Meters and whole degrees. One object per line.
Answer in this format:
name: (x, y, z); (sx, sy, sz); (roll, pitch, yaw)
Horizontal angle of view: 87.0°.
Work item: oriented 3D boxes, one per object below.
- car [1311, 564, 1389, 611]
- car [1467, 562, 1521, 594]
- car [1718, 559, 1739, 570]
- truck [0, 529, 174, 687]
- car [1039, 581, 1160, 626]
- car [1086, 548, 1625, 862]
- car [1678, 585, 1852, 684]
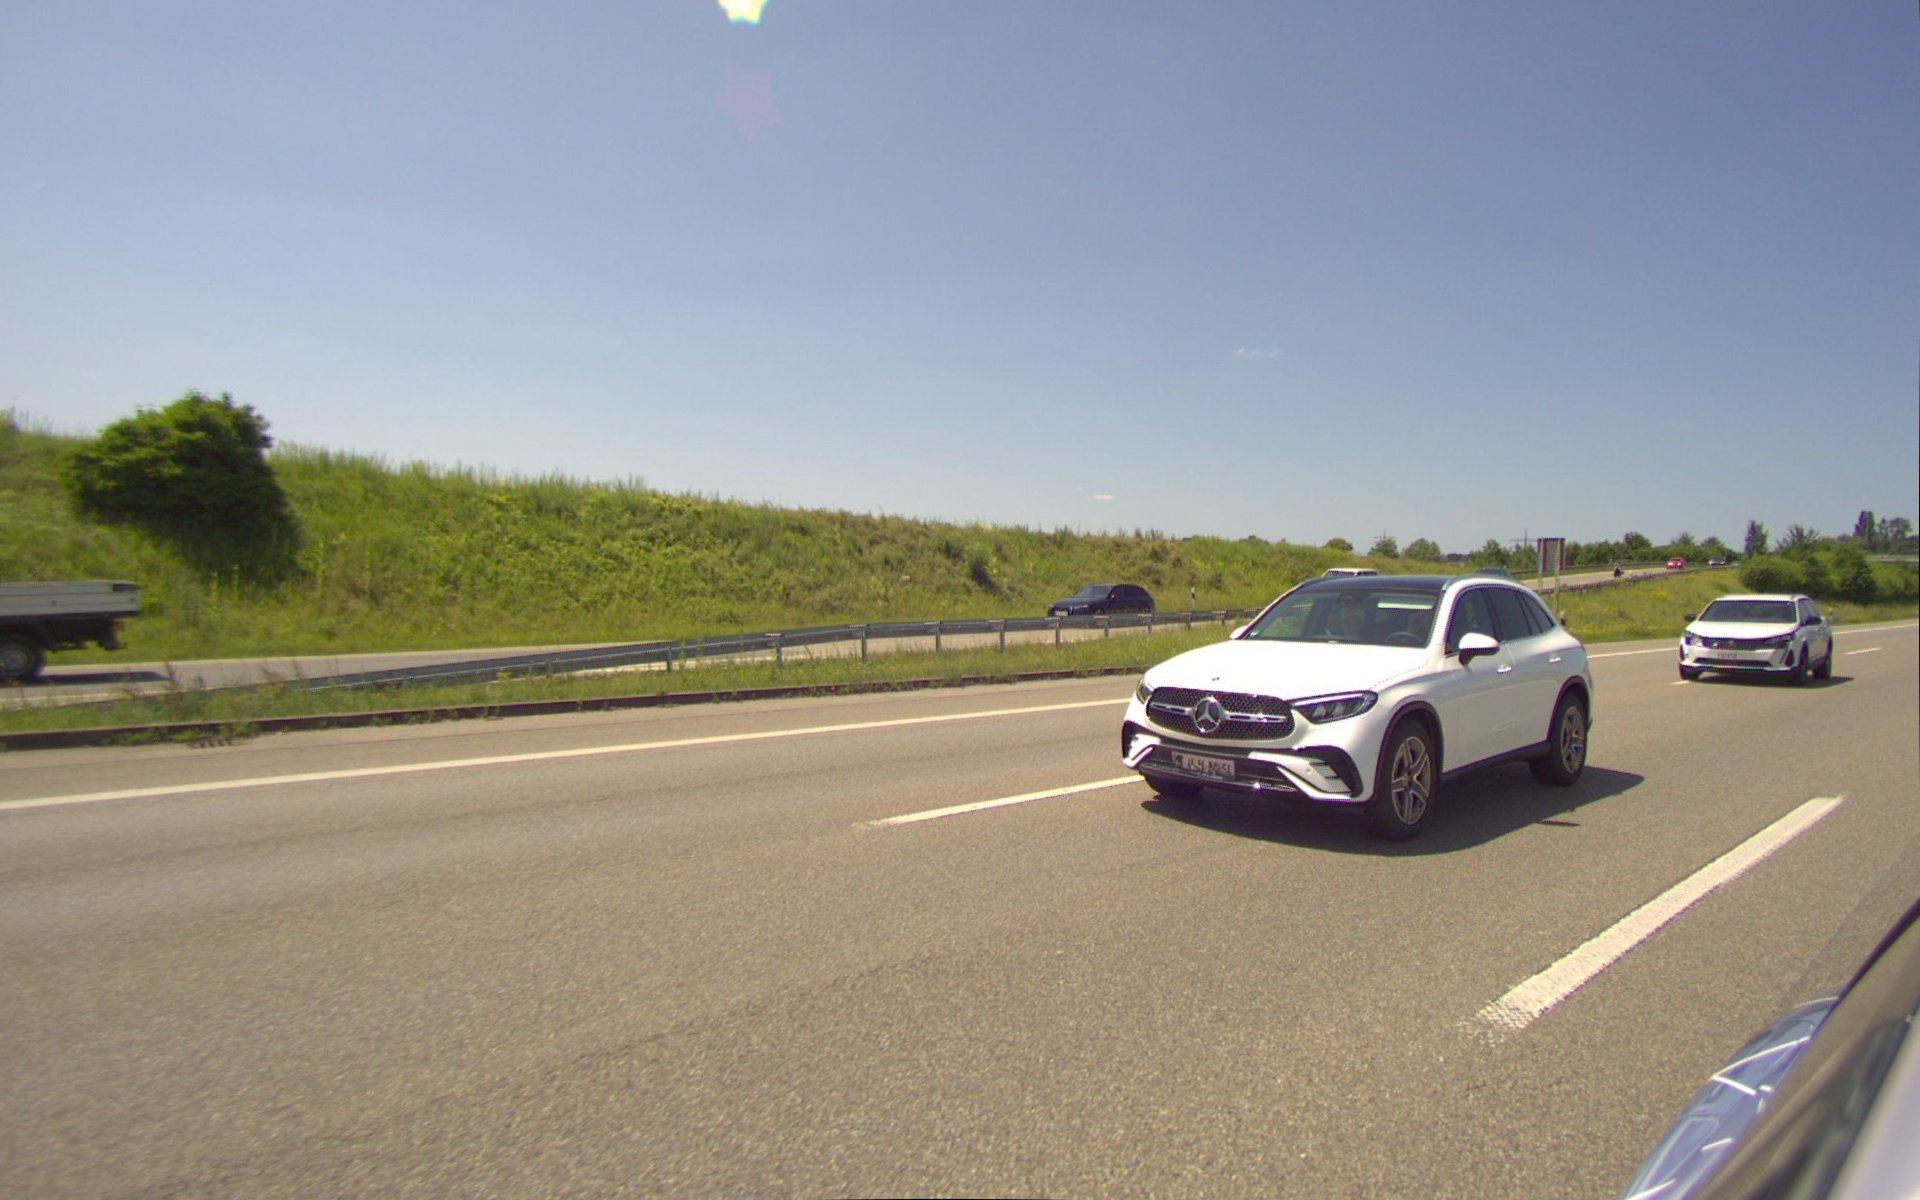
car: (19.299, -0.598, 49.954); (1.992, 2.199, 4.819); (1, 1, 42)
car: (35.219, -1.471, 66.708); (3.935, 2.039, 1.994); (-2, 1, -44)
car: (123.058, -5.631, 161.992); (4.539, 1.650, 1.980); (-1, 1, -43)
truck: (-14.480, 0.083, 13.560); (2.165, 2.118, 6.020); (2, 2, 45)
car: (4.735, 0.076, 33.986); (1.993, 1.400, 4.231); (1, 1, 42)
car: (3.190, 0.539, 7.642); (4.555, 1.676, 1.908); (0, 0, -41)
car: (15.548, 0.557, 19.455); (4.538, 1.650, 1.896); (-1, 1, -42)
